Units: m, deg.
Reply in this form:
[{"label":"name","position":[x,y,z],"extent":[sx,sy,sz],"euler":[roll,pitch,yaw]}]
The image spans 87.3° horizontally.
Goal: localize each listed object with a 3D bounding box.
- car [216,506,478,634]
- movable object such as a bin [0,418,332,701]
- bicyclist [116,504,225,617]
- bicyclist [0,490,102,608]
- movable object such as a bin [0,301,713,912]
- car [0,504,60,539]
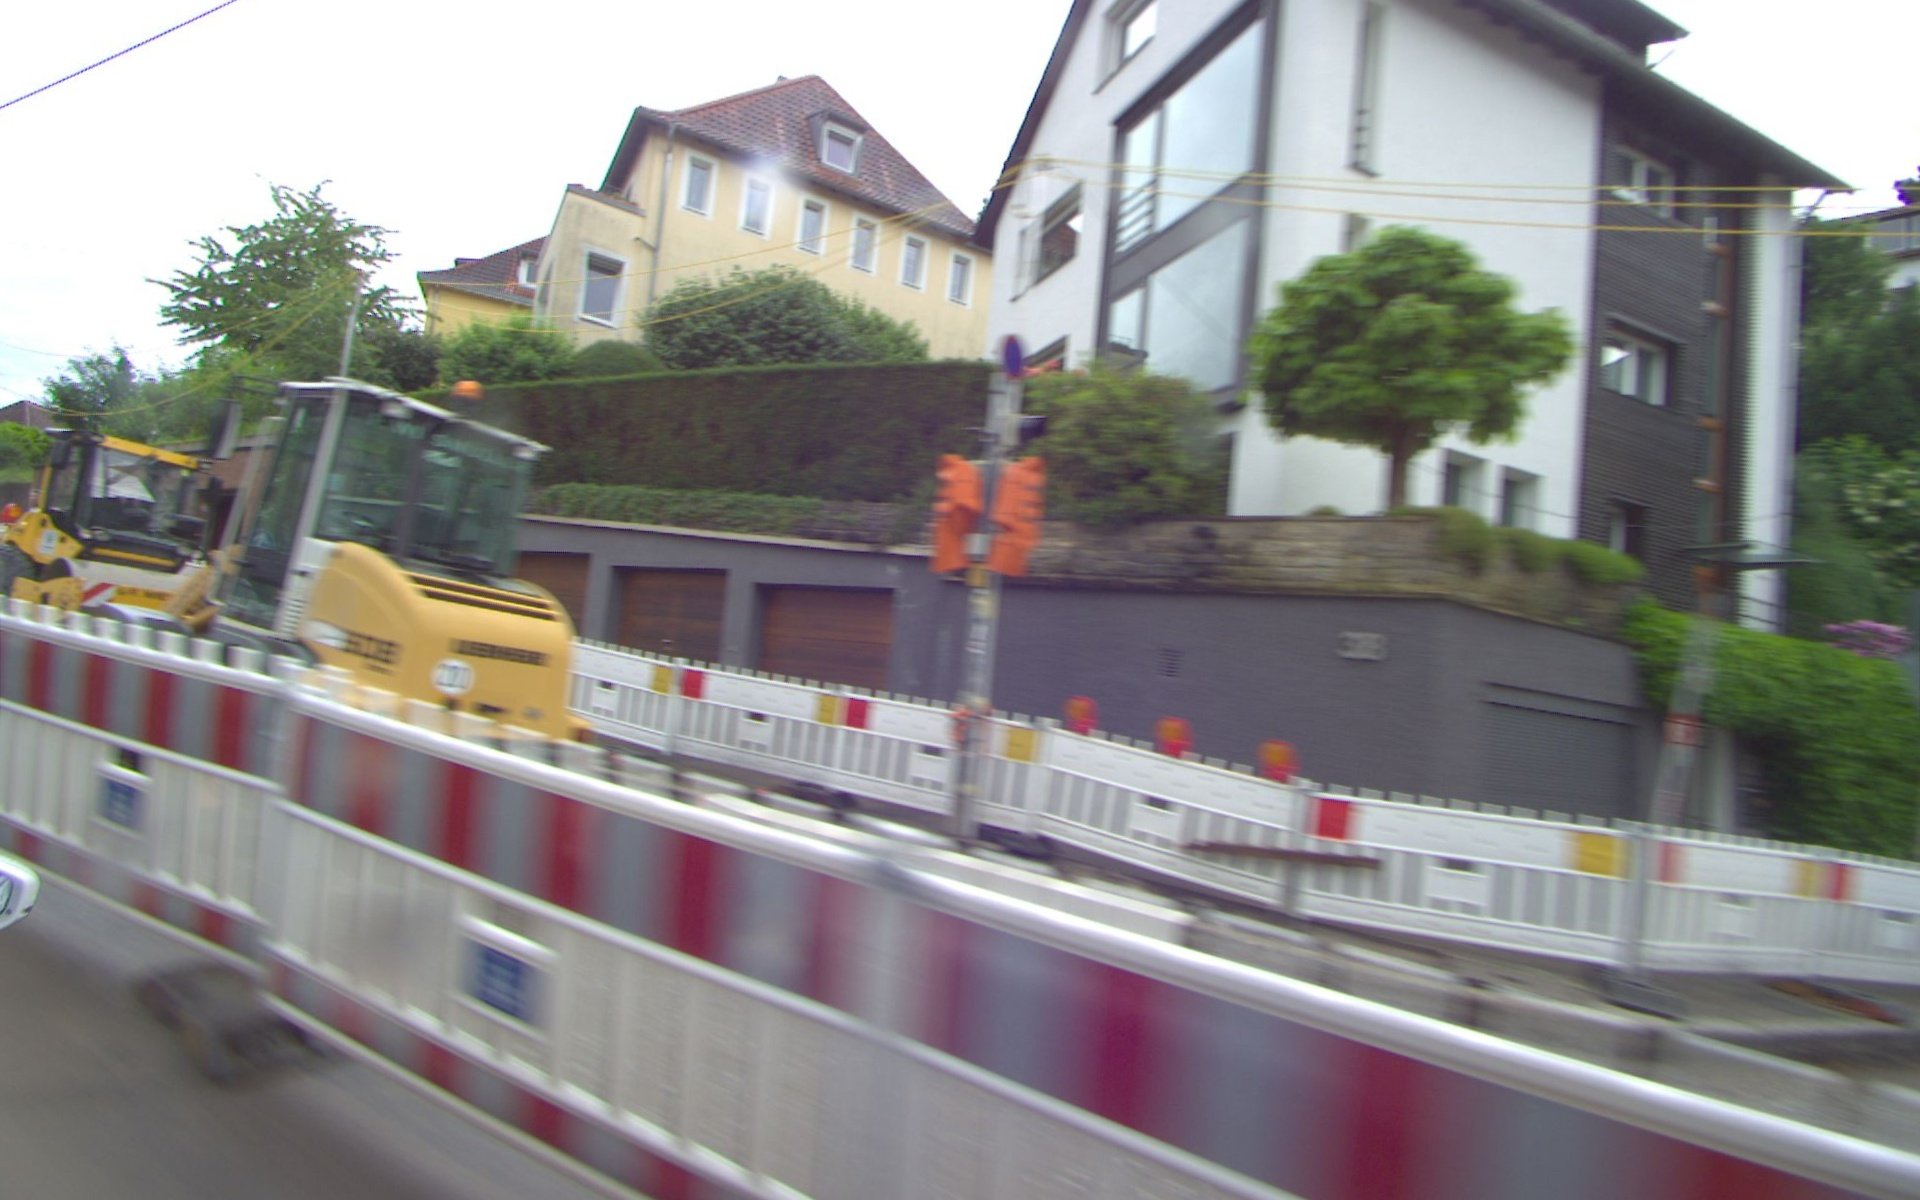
[{"label":"car","position":[-13.086,-0.550,21.808],"extent":[1.784,2.034,4.390],"euler":[2,-6,29]},{"label":"movable object such as a bin","position":[-10.874,-0.621,13.019],"extent":[5.582,2.869,2.092],"euler":[8,-2,32]},{"label":"bicyclist","position":[-13.710,-0.667,17.518],"extent":[1.064,1.747,0.928],"euler":[10,-3,-24]},{"label":"bicyclist","position":[-15.513,-0.850,16.973],"extent":[0.916,1.747,1.078],"euler":[7,-3,23]},{"label":"movable object such as a bin","position":[-4.666,-0.043,7.058],"extent":[5.584,2.869,2.092],"euler":[5,-4,32]},{"label":"car","position":[-56.856,-4.806,60.318],"extent":[1.842,1.562,4.901],"euler":[8,-3,-9]}]
